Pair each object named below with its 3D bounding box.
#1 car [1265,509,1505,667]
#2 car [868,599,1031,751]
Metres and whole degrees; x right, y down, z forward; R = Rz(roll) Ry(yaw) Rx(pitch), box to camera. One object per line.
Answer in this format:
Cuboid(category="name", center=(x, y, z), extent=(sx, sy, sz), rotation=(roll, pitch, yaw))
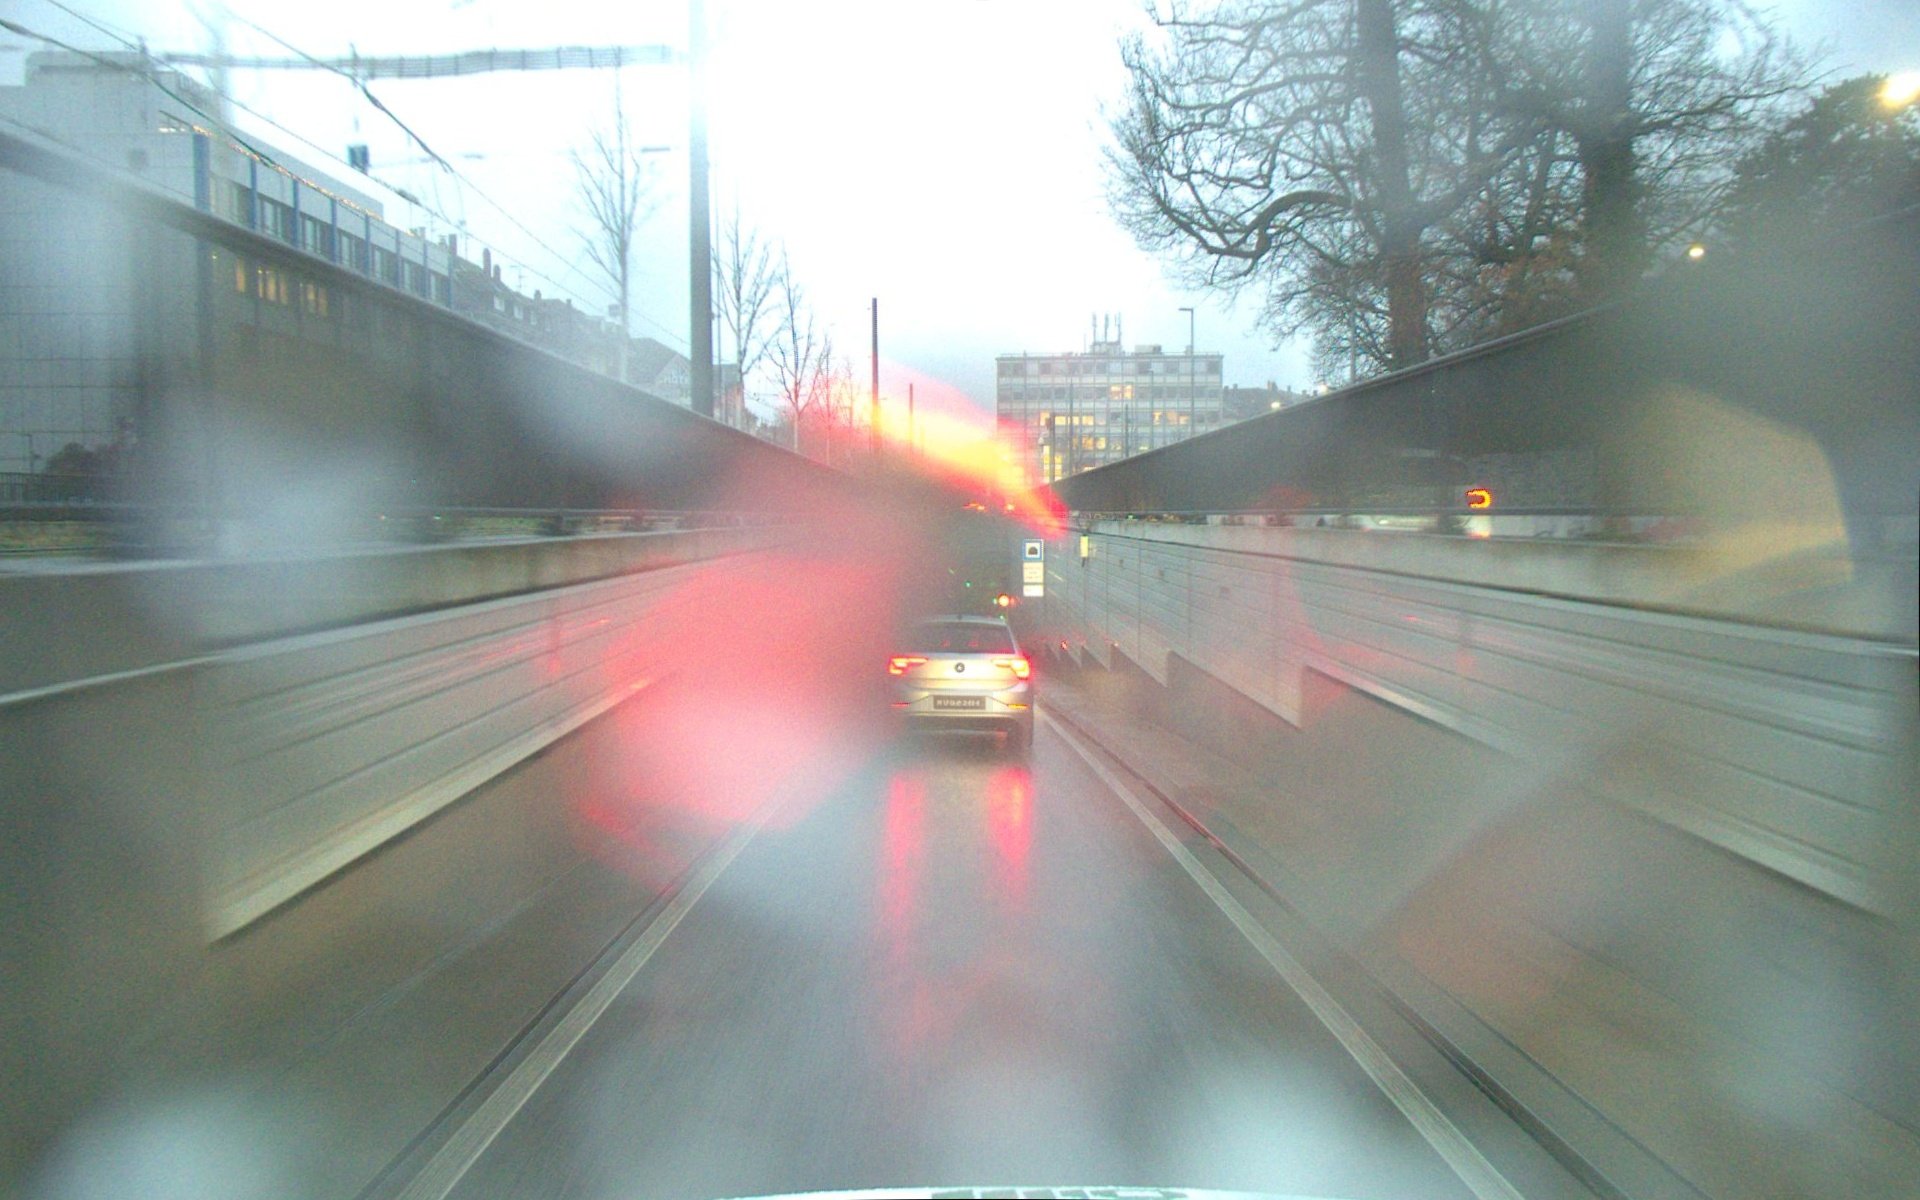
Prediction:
Cuboid(category="car", center=(4.552, -0.201, 18.288), extent=(1.687, 1.505, 4.002), rotation=(2, 2, 2))
Cuboid(category="car", center=(-0.054, 0.788, 19.493), extent=(1.687, 1.505, 4.001), rotation=(2, 1, 2))
